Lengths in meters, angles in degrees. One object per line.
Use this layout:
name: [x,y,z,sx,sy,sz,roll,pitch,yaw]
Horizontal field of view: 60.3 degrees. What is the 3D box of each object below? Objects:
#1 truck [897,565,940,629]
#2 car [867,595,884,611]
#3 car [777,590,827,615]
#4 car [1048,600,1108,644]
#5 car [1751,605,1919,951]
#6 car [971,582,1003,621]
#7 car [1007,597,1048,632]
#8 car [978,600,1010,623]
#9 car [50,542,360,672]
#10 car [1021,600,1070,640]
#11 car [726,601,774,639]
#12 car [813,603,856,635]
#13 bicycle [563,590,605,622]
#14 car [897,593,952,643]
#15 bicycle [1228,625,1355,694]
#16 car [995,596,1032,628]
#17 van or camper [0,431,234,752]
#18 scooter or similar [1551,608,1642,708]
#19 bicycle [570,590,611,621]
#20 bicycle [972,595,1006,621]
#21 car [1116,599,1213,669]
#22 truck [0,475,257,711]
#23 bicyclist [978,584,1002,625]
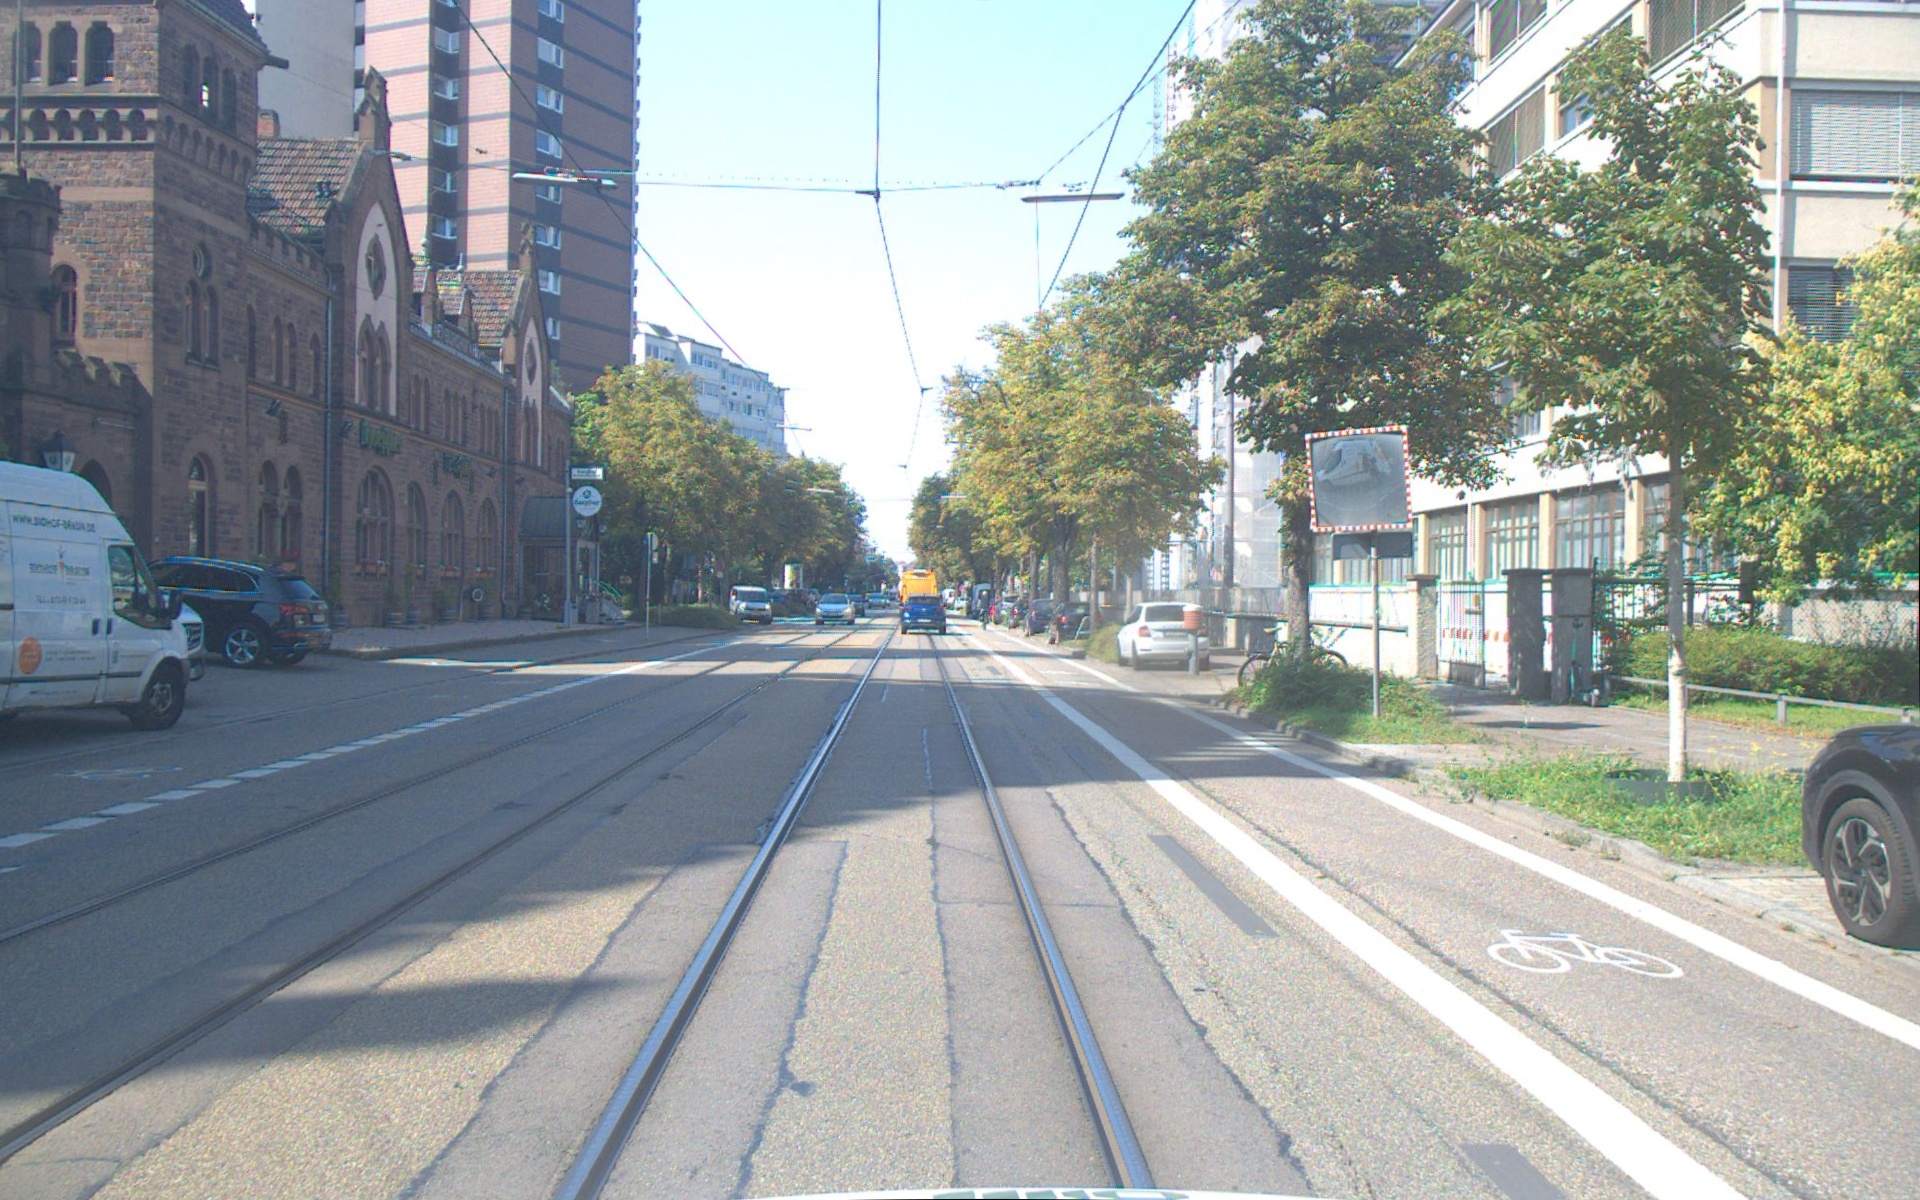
truck: [-2.132,-0.158,84.934,2.092,3.179,6.083,0,0,-1]
car: [-9.380,0.290,183.862,1.744,1.713,4.345,1,0,-3]
car: [-13.341,0.196,139.814,3.970,2.049,1.826,1,0,-45]
car: [3.945,0.720,55.850,1.625,1.432,4.216,0,0,-1]
car: [5.212,0.802,6.616,1.721,1.542,4.607,0,0,-3]
car: [1.979,0.108,121.659,1.953,2.804,5.758,1,0,-3]
car: [3.251,0.694,80.482,1.601,1.612,4.186,1,0,-3]
car: [2.249,0.745,111.071,1.870,1.456,4.290,1,0,-3]
car: [-12.316,0.107,27.199,4.052,1.774,2.000,4,0,-1]
car: [3.465,0.806,67.387,1.707,1.583,4.216,0,0,-1]
car: [-10.674,0.976,83.814,1.719,1.828,3.980,1,0,-17]
car: [-6.216,0.919,82.307,1.809,1.518,4.866,0,0,-1]
bicycle: [-14.352,0.232,63.124,1.423,1.112,0.399,4,-1,-6]
car: [-1.410,0.684,65.694,2.092,1.891,5.566,0,0,-1]
bicycle: [4.943,0.889,24.734,1.775,0.975,0.558,1,0,-2]
car: [2.909,0.622,90.567,1.705,1.697,4.359,1,0,-3]
van or camper: [-9.158,-0.093,15.469,2.069,2.722,5.954,1,0,0]
scooter or similar: [8.650,0.762,22.530,0.544,1.281,1.818,1,0,1]
bicycle: [-14.449,0.227,64.696,1.423,1.112,0.399,4,-1,-6]
bicycle: [1.338,0.376,76.608,1.373,1.154,3.999,1,0,-2]
car: [4.574,0.737,37.484,1.625,1.507,4.216,0,0,-1]
truck: [-12.202,-0.263,20.225,6.189,2.582,2.132,4,1,3]
bicyclist: [1.377,0.199,76.594,1.011,1.844,1.016,1,0,-2]
